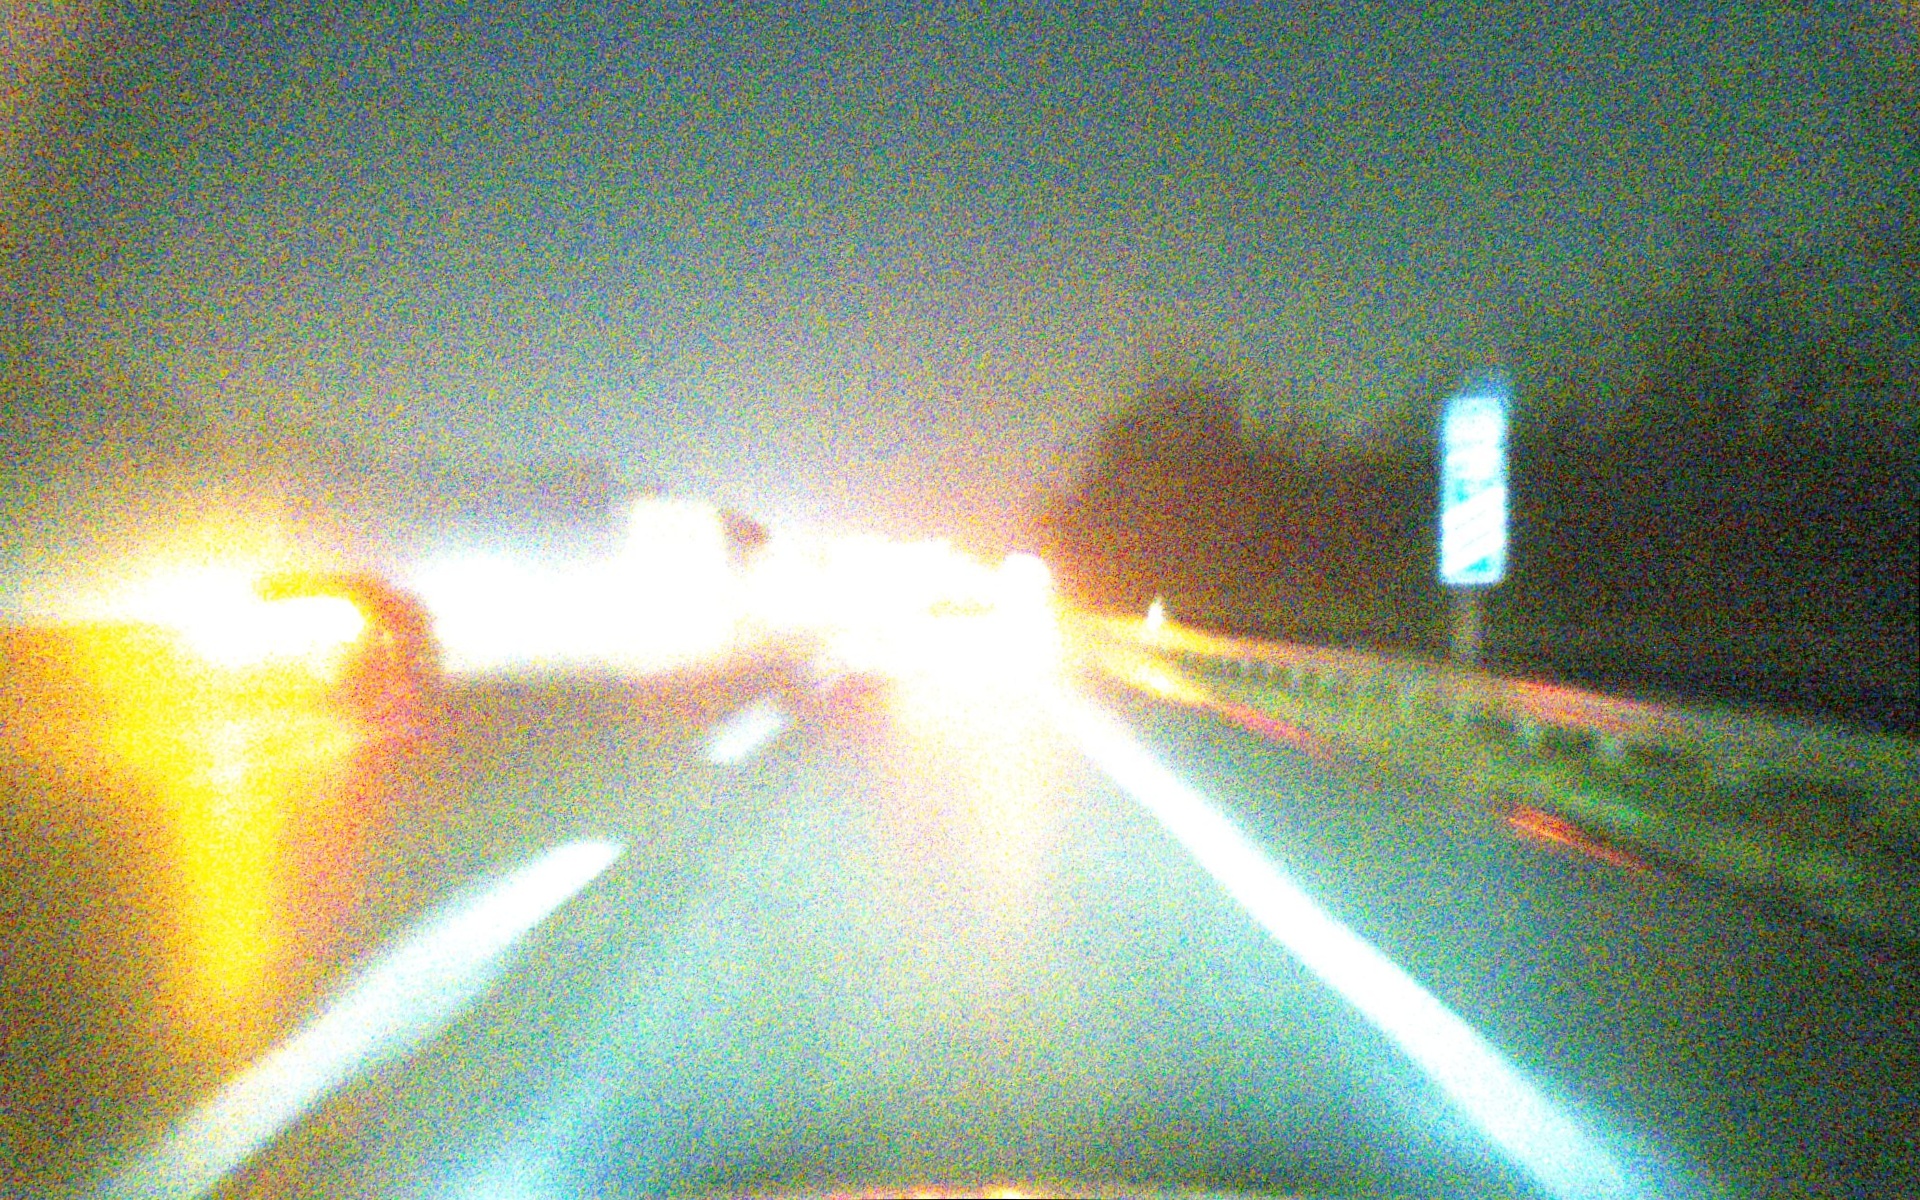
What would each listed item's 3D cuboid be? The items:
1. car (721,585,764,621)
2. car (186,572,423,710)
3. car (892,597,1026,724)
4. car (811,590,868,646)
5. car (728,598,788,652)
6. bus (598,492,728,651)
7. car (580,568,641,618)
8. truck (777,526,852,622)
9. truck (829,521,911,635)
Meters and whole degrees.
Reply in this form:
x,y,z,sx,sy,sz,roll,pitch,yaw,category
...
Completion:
x,y,z,sx,sy,sz,roll,pitch,yaw,category
-11.333,0.164,86.302,1.954,1.839,3.996,1,0,-4,car
-8.448,0.500,21.708,1.956,1.624,3.993,1,0,-8,car
-0.061,0.906,26.495,1.953,1.839,3.999,1,0,-1,car
-4.623,0.684,63.872,2.084,2.049,4.642,1,0,-4,car
-7.227,0.870,59.479,1.954,1.839,3.996,1,0,-4,car
-9.440,-0.799,53.749,3.036,4.587,10.902,1,0,-5,bus
-13.301,-0.241,63.087,1.956,1.825,3.993,1,0,-8,car
-9.240,-1.545,106.552,4.125,5.747,11.462,1,0,-2,truck
-4.772,-1.106,89.949,4.125,5.747,11.462,1,0,-2,truck
